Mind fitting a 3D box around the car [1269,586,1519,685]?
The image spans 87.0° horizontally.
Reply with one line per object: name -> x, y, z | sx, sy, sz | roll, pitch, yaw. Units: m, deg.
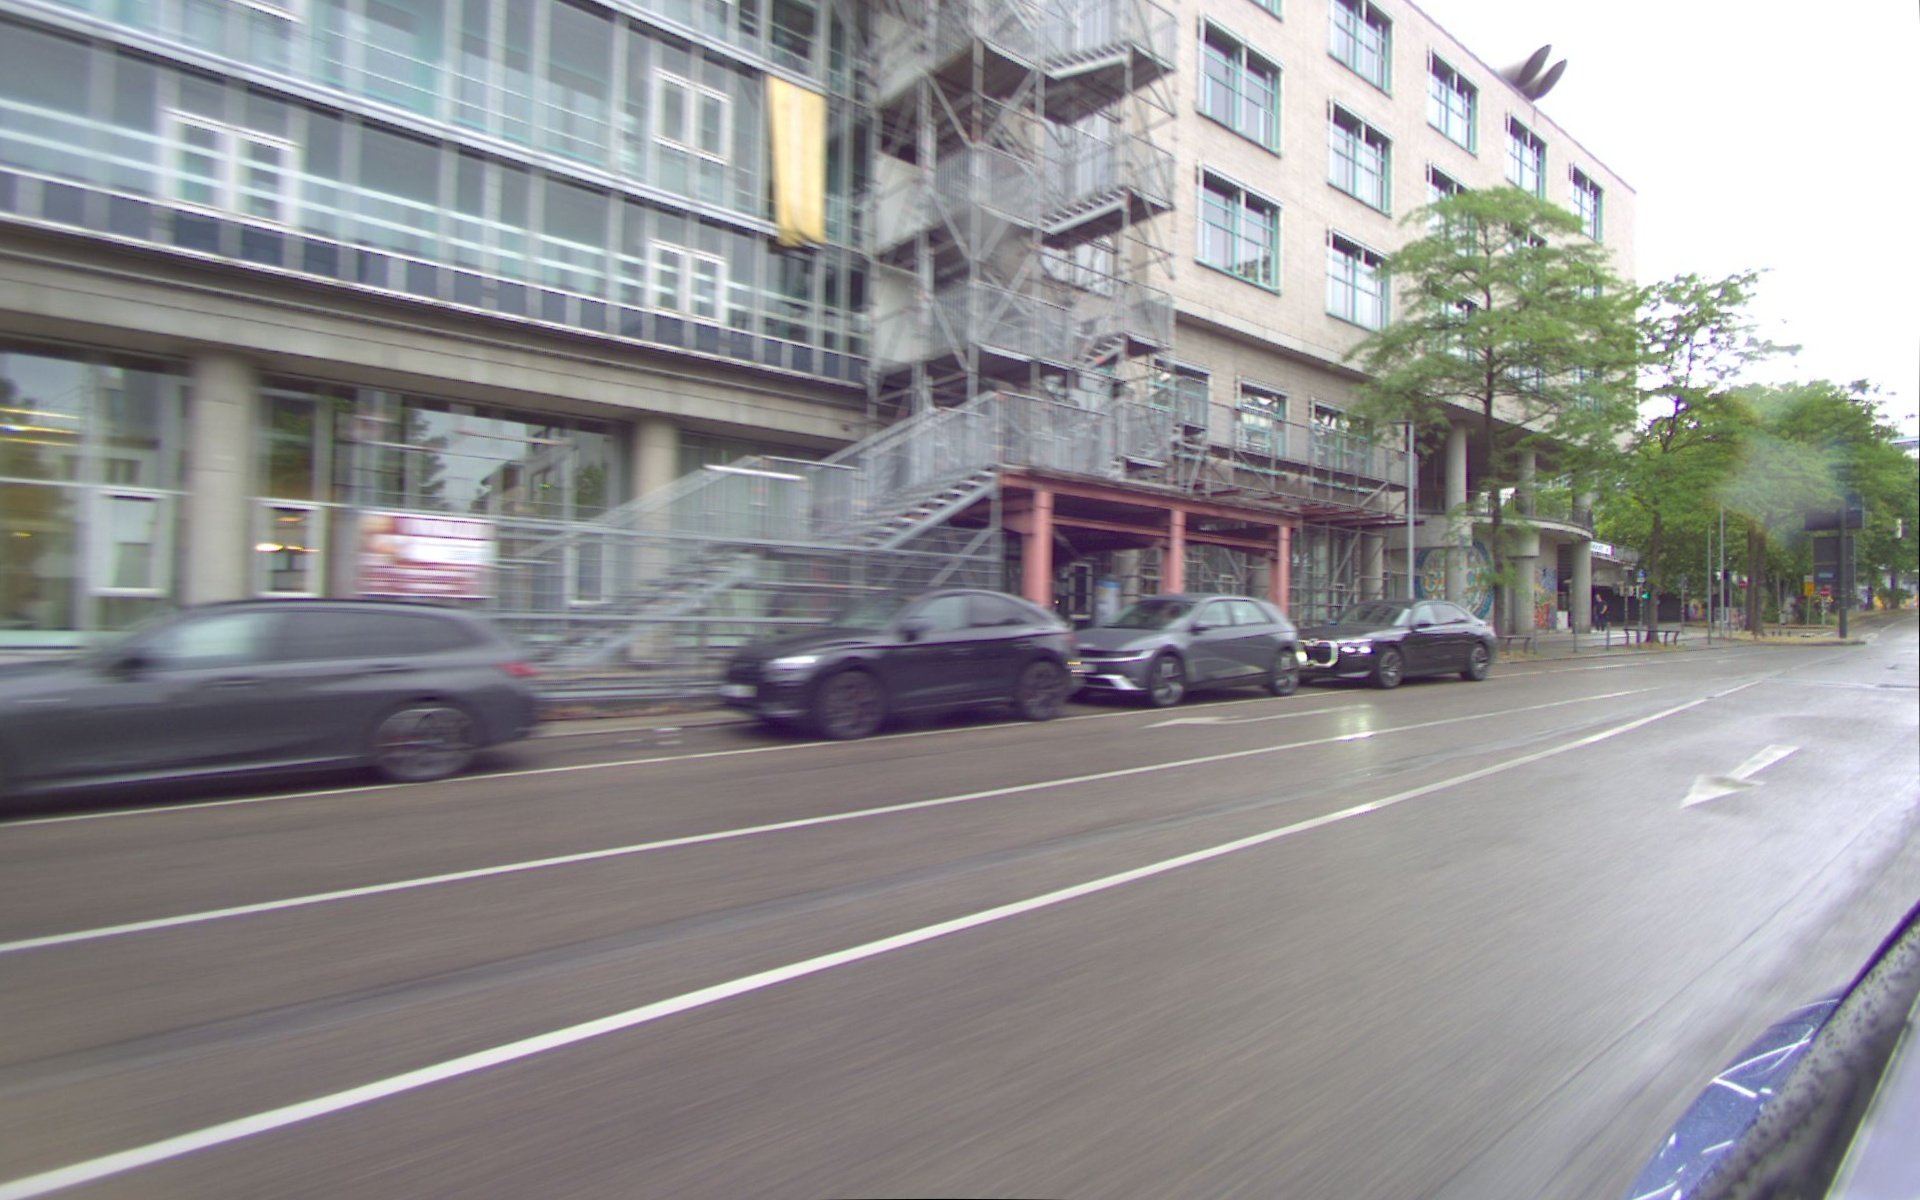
car -> 8.202, 0.577, 18.884 | 5.191, 1.621, 1.999 | 0, 0, -37

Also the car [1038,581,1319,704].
car -> 3.454, 0.560, 15.493 | 4.511, 1.621, 1.865 | 0, 0, -41

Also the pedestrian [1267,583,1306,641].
pedestrian -> 9.303, 0.344, 28.812 | 0.908, 1.616, 0.704 | 1, -1, -42

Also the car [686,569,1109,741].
car -> -0.601, 0.535, 12.113 | 4.773, 1.667, 1.998 | 0, 0, -38

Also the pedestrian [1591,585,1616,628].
pedestrian -> 31.107, 0.315, 48.924 | 0.746, 2.039, 0.869 | 1, -1, -44

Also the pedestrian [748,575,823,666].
pedestrian -> -3.211, 0.357, 18.627 | 1.095, 1.616, 0.818 | 1, -1, -45

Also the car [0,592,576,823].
car -> -5.737, 0.680, 7.848 | 4.831, 1.455, 1.874 | 0, 0, -38
